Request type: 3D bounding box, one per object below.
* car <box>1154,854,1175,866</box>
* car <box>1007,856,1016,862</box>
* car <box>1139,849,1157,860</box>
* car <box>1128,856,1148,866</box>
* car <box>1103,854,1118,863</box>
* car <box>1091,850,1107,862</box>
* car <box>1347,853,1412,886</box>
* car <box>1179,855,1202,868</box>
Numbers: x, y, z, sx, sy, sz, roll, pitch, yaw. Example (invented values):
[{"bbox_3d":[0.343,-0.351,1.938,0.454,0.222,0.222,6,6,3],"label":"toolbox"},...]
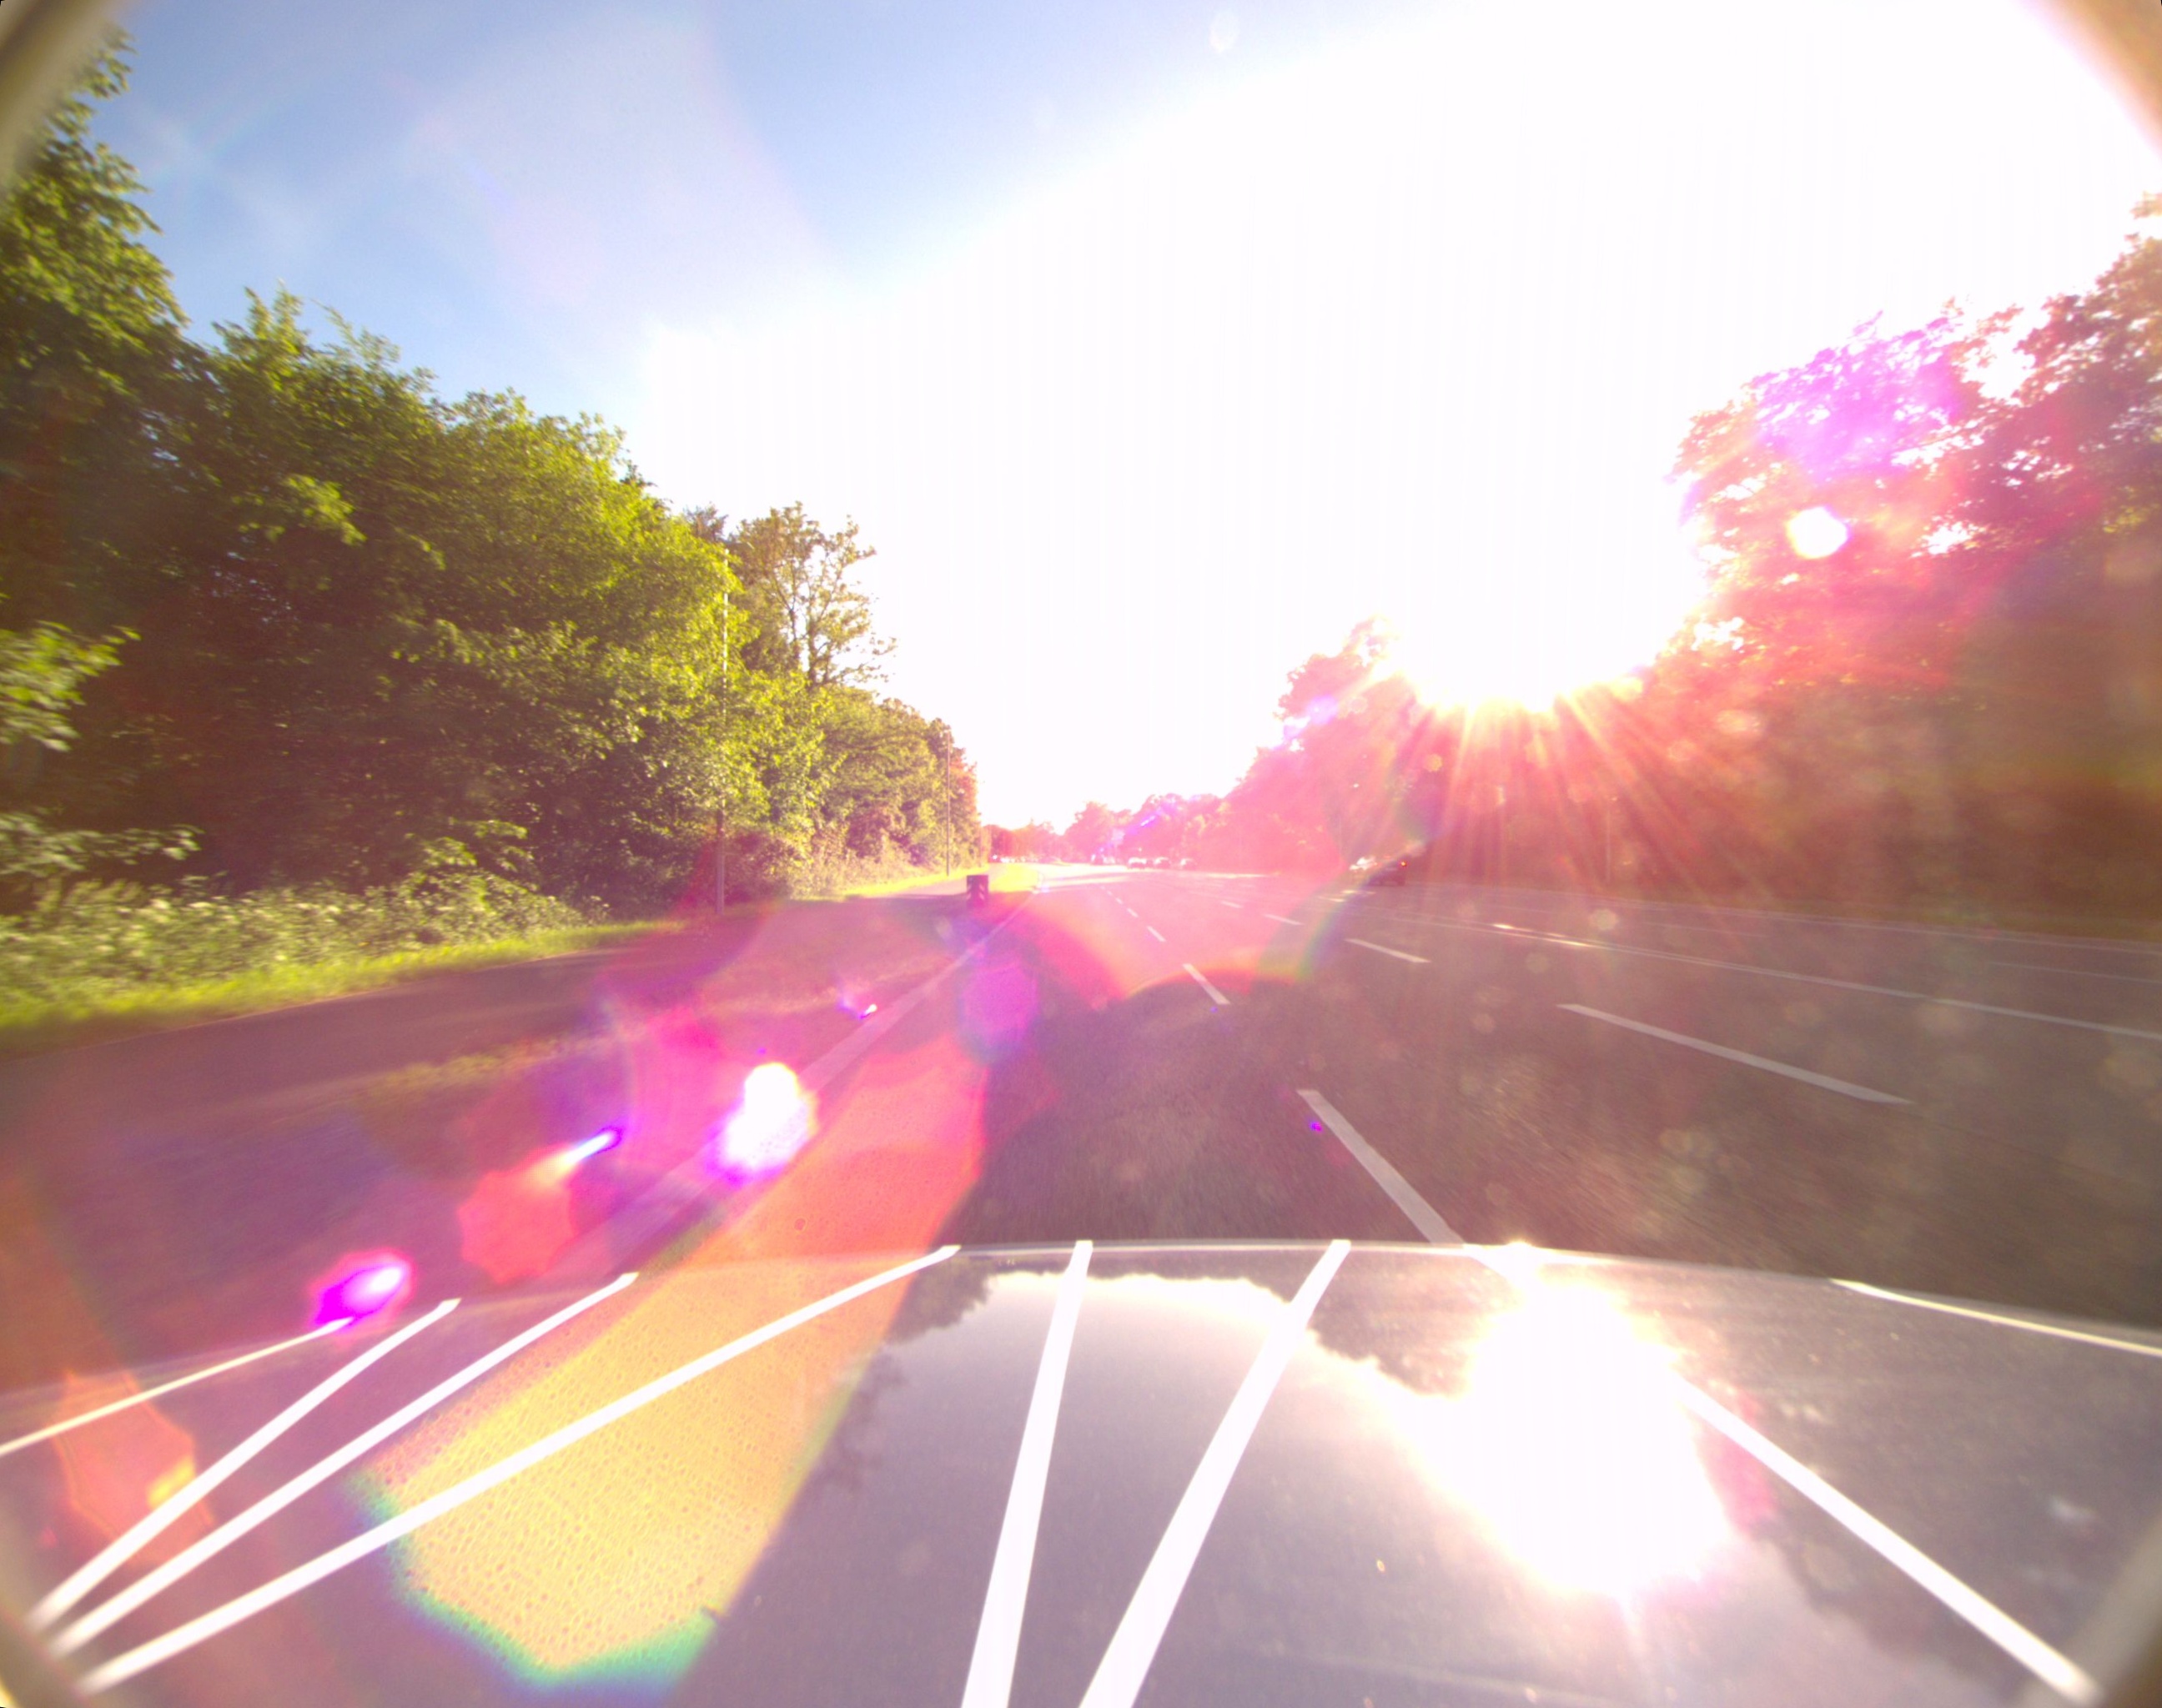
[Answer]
[{"bbox_3d":[12.217,0.837,111.324,1.999,1.627,4.841,0,0,-6],"label":"car"},{"bbox_3d":[-18.228,1.291,199.363,2.000,1.510,3.995,-1,1,-11],"label":"car"},{"bbox_3d":[10.669,0.095,121.129,2.000,1.555,4.645,3,0,-6],"label":"car"},{"bbox_3d":[6.849,0.813,91.772,1.749,1.227,4.672,0,0,-4],"label":"car"},{"bbox_3d":[5.526,0.840,141.764,2.000,1.442,4.644,1,0,-8],"label":"car"},{"bbox_3d":[3.131,0.310,134.805,2.000,1.950,4.644,1,0,-8],"label":"car"},{"bbox_3d":[14.890,0.734,38.158,1.829,1.535,4.257,0,0,3],"label":"car"},{"bbox_3d":[13.609,0.953,95.052,1.999,1.555,4.336,0,0,-4],"label":"car"}]
